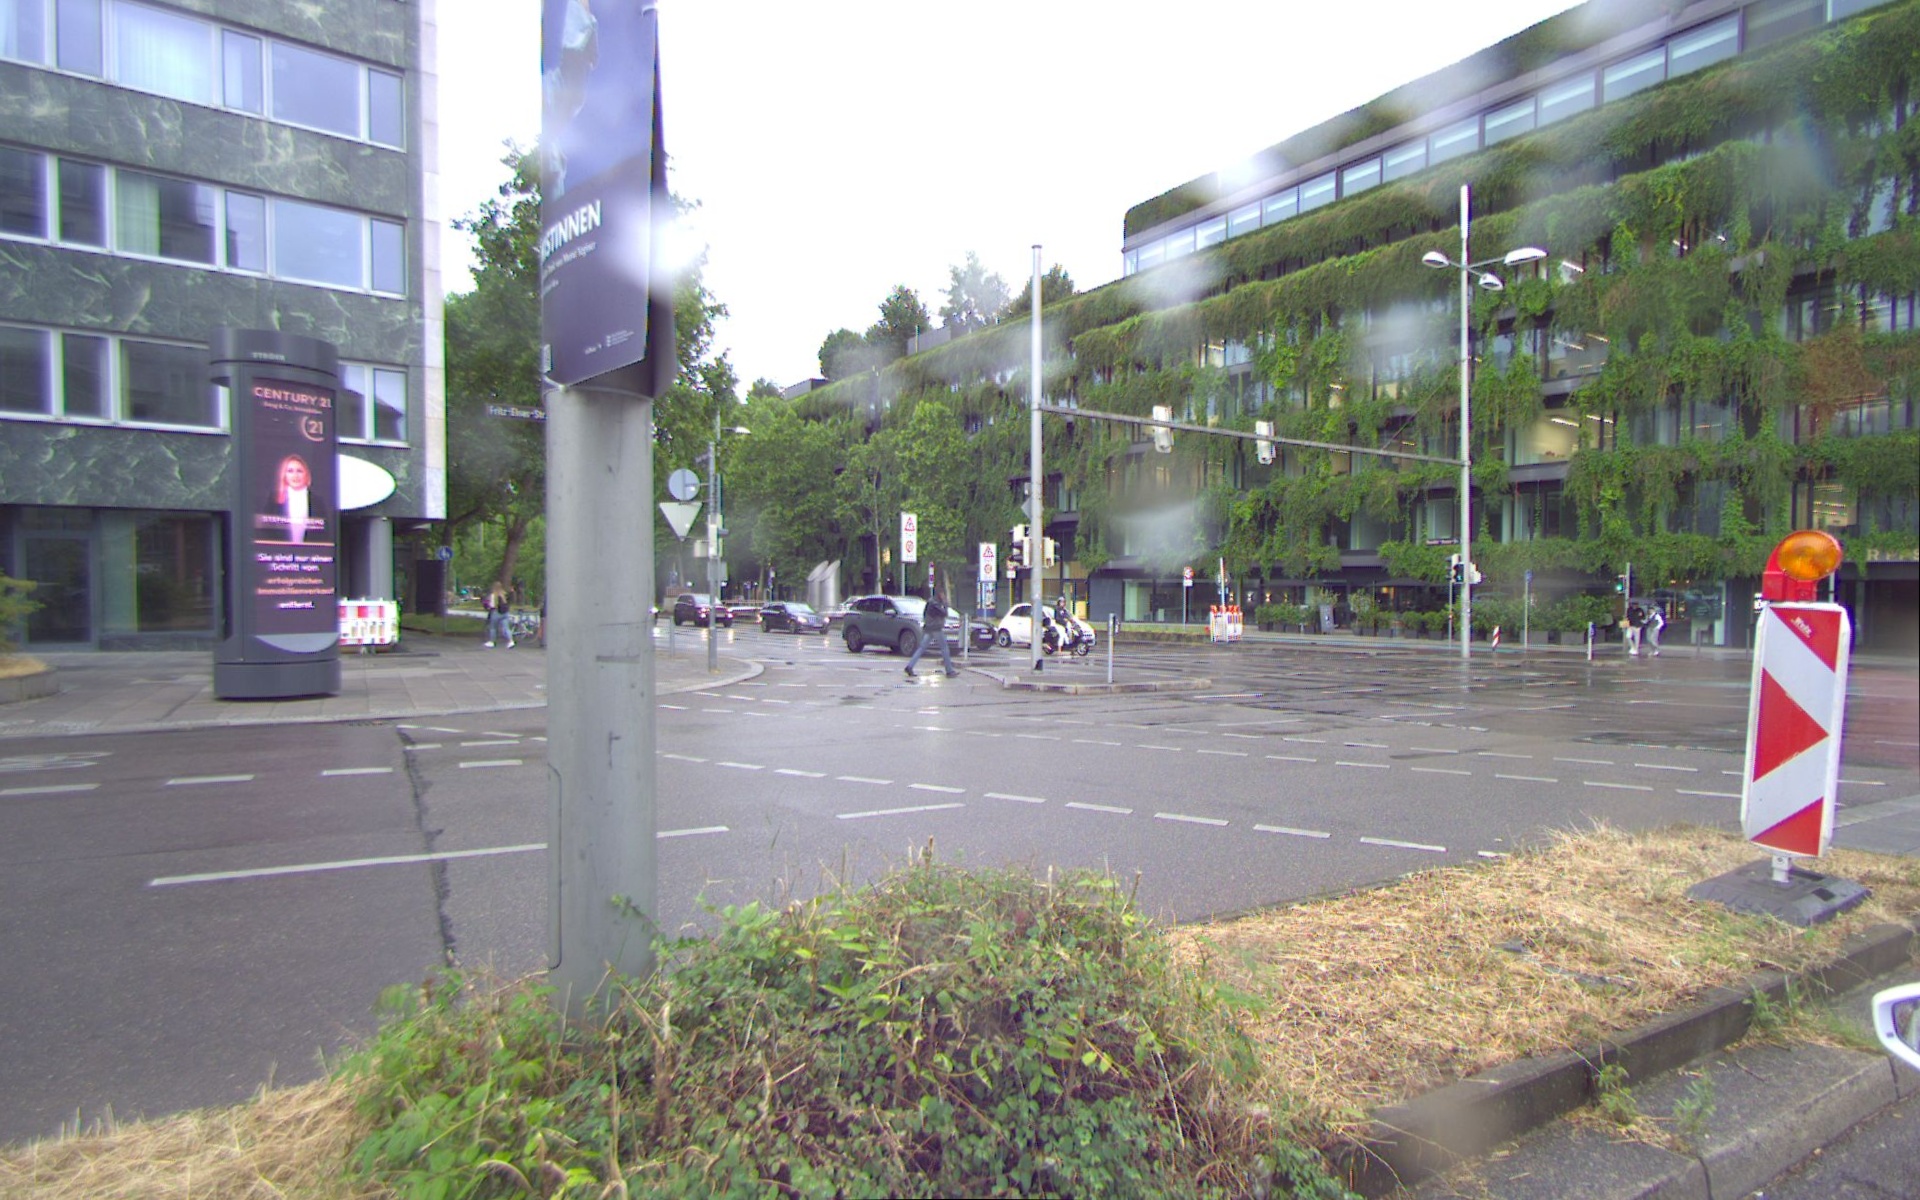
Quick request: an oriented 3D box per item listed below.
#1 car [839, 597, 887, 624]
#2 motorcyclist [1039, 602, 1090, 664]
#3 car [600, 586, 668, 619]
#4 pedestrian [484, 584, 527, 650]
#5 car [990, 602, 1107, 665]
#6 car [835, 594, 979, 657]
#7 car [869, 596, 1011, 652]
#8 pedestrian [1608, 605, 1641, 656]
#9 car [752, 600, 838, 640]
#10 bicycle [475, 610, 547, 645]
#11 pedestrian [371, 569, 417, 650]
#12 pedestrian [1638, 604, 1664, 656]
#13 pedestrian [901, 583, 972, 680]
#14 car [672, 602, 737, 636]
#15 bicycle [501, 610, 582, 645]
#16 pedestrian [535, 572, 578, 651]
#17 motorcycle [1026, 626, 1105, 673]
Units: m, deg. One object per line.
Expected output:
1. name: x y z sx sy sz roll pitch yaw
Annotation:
1. car: -7.510 0.816 77.298 1.979 2.040 4.073 1 -1 -34
2. motorcyclist: 3.028 0.943 29.056 1.173 1.725 0.843 1 0 44
3. car: -17.651 0.141 54.294 1.986 1.674 4.050 3 -1 -42
4. pedestrian: -11.462 0.444 25.309 0.912 1.606 0.828 1 -4 -30
5. car: 2.905 1.058 33.250 1.985 1.948 3.417 1 0 -42
6. car: -1.593 0.681 29.144 1.985 1.674 4.186 1 0 -42
7. car: -0.720 0.735 32.695 1.957 1.674 4.755 1 0 -43
8. pedestrian: 23.937 1.084 36.178 0.923 1.781 1.167 1 0 37
9. car: -7.537 0.885 45.730 1.986 1.674 4.050 3 -1 -42
10. bicycle: -12.391 0.768 27.771 1.773 0.946 0.473 1 0 -21
11. pedestrian: -13.573 0.232 24.082 0.868 1.879 1.015 1 0 -34
12. pedestrian: 24.495 1.055 35.607 0.731 1.781 0.972 1 0 37
13. pedestrian: -0.478 0.627 20.610 1.225 1.910 0.685 1 2 -34
14. car: -13.814 1.005 54.252 1.805 1.674 4.053 3 -1 -40
15. bicycle: -12.123 0.796 29.156 2.170 0.968 0.423 2 -1 -44
16. pedestrian: -10.026 0.305 24.963 0.887 1.909 0.781 1 -4 -30
17. motorcycle: 3.032 1.407 29.045 2.204 1.227 0.843 1 0 44
